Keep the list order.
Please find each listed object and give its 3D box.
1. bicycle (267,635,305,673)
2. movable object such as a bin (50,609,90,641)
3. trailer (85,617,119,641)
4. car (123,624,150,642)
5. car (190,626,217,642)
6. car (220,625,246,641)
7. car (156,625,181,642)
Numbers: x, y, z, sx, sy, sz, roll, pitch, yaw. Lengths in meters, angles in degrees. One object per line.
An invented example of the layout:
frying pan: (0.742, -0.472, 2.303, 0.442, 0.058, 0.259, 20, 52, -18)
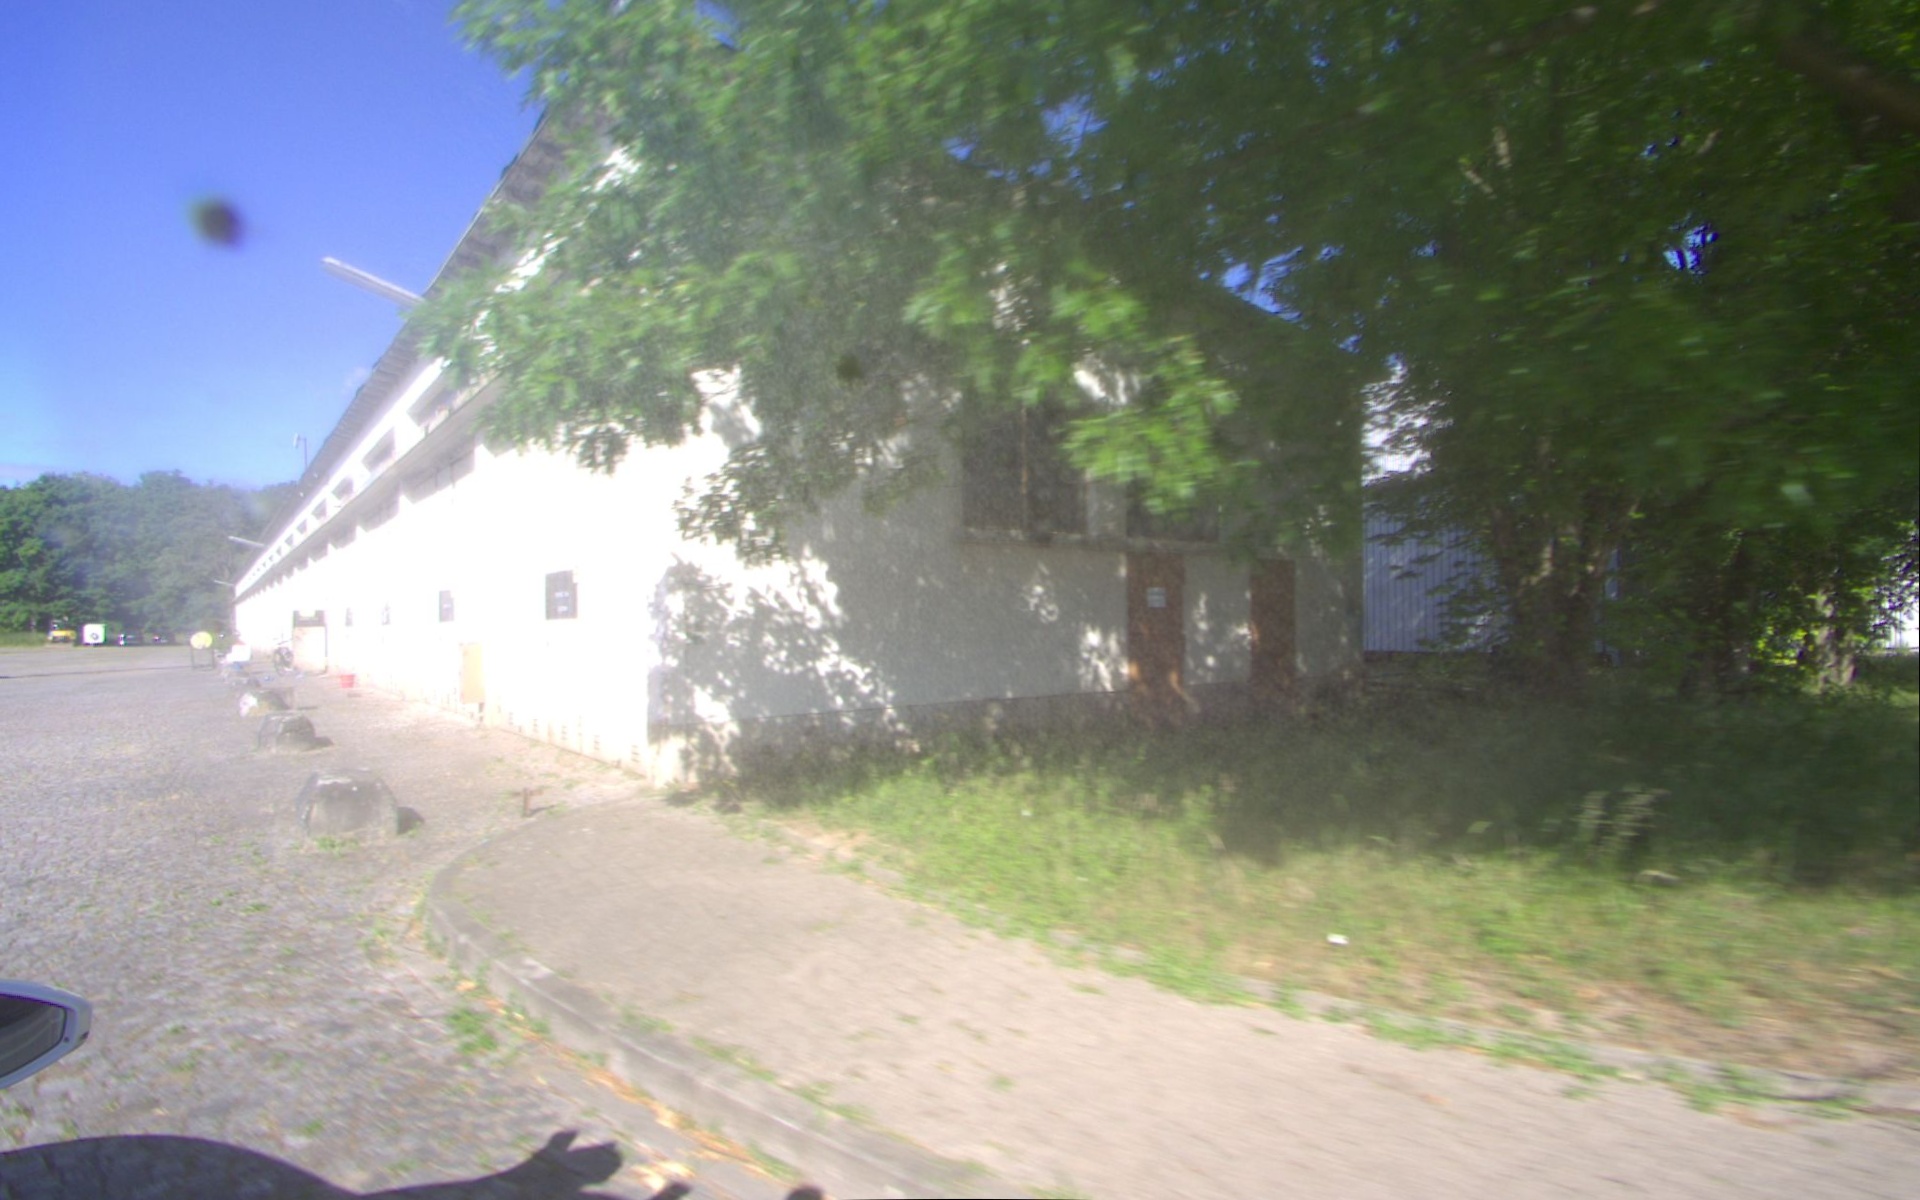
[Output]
bicycle: (-19.693, 1.556, 29.292, 0.656, 1.081, 1.818, 1, -2, -25)
movable object such as a bin: (-85.824, 2.399, 96.630, 2.286, 2.934, 5.708, 2, -1, -37)
trailer: (-83.607, 2.809, 97.611, 2.175, 2.122, 5.706, 2, -1, -38)
car: (-80.067, 3.197, 97.378, 1.848, 1.610, 4.262, 2, -1, -38)
car: (-76.140, 3.374, 100.827, 1.726, 1.455, 4.157, 2, -1, -32)
car: (-75.066, 3.390, 103.436, 1.725, 1.455, 4.160, 2, -1, -30)
car: (-78.340, 3.310, 99.187, 1.848, 1.489, 4.262, 2, -1, -38)
